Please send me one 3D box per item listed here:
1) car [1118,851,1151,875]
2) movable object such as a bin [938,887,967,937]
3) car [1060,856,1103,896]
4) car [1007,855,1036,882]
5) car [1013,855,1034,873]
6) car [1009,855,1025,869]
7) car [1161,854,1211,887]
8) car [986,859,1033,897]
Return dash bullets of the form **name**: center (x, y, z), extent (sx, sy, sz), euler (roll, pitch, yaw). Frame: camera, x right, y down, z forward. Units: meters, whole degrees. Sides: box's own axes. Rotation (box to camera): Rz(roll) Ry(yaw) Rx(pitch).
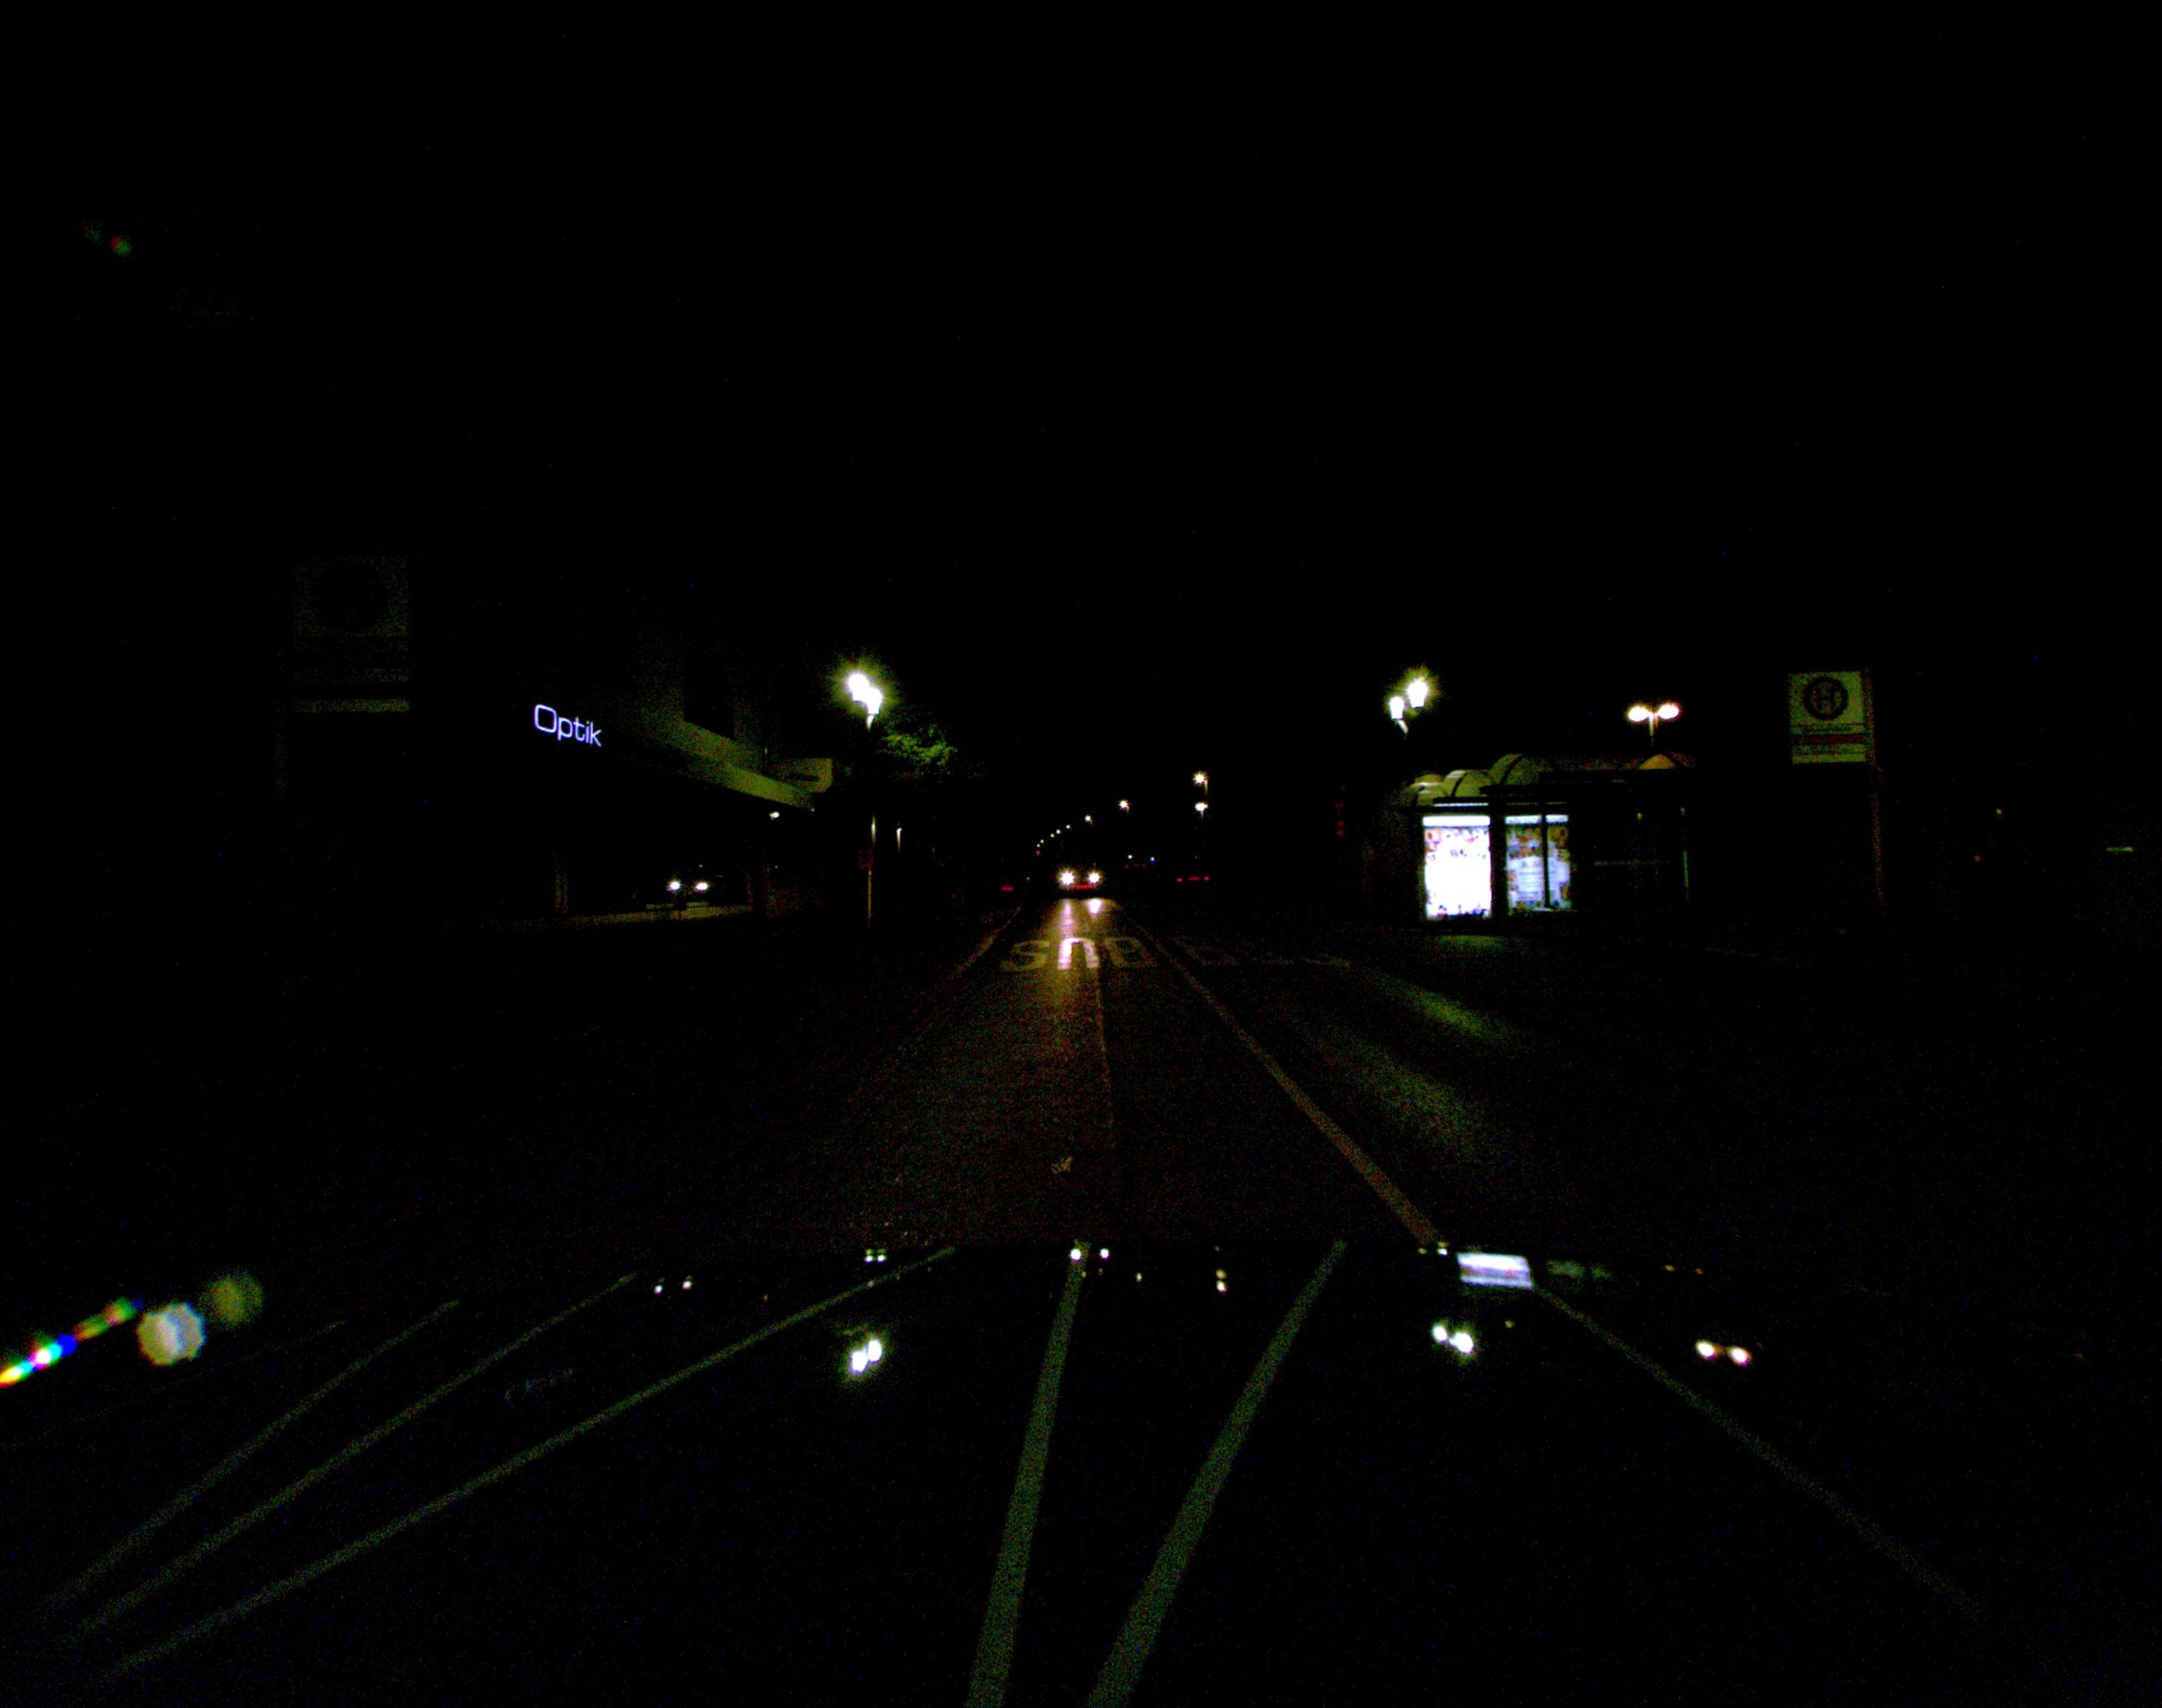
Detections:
- **car**: center (3.799, 0.610, 54.306), extent (1.697, 1.515, 3.688), euler (-2, 2, -6)
- **movable object such as a bin**: center (-2.609, 1.158, 15.436), extent (0.525, 0.932, 0.629), euler (-2, 2, -11)
- **car**: center (0.046, 0.863, 31.742), extent (1.627, 1.496, 3.550), euler (-2, 1, 1)
- **car**: center (-3.836, 0.875, 49.273), extent (1.792, 1.632, 4.378), euler (0, 0, -4)
- **car**: center (-5.223, 0.902, 69.295), extent (1.681, 1.439, 4.610), euler (-3, 1, -2)
- **car**: center (-7.213, 0.895, 85.582), extent (1.643, 1.458, 3.774), euler (-3, 1, -5)
- **car**: center (5.083, 0.766, 37.160), extent (1.696, 1.428, 4.127), euler (-3, 0, -2)
- **car**: center (-3.011, 0.973, 32.754), extent (1.863, 1.434, 4.592), euler (0, 1, -3)
